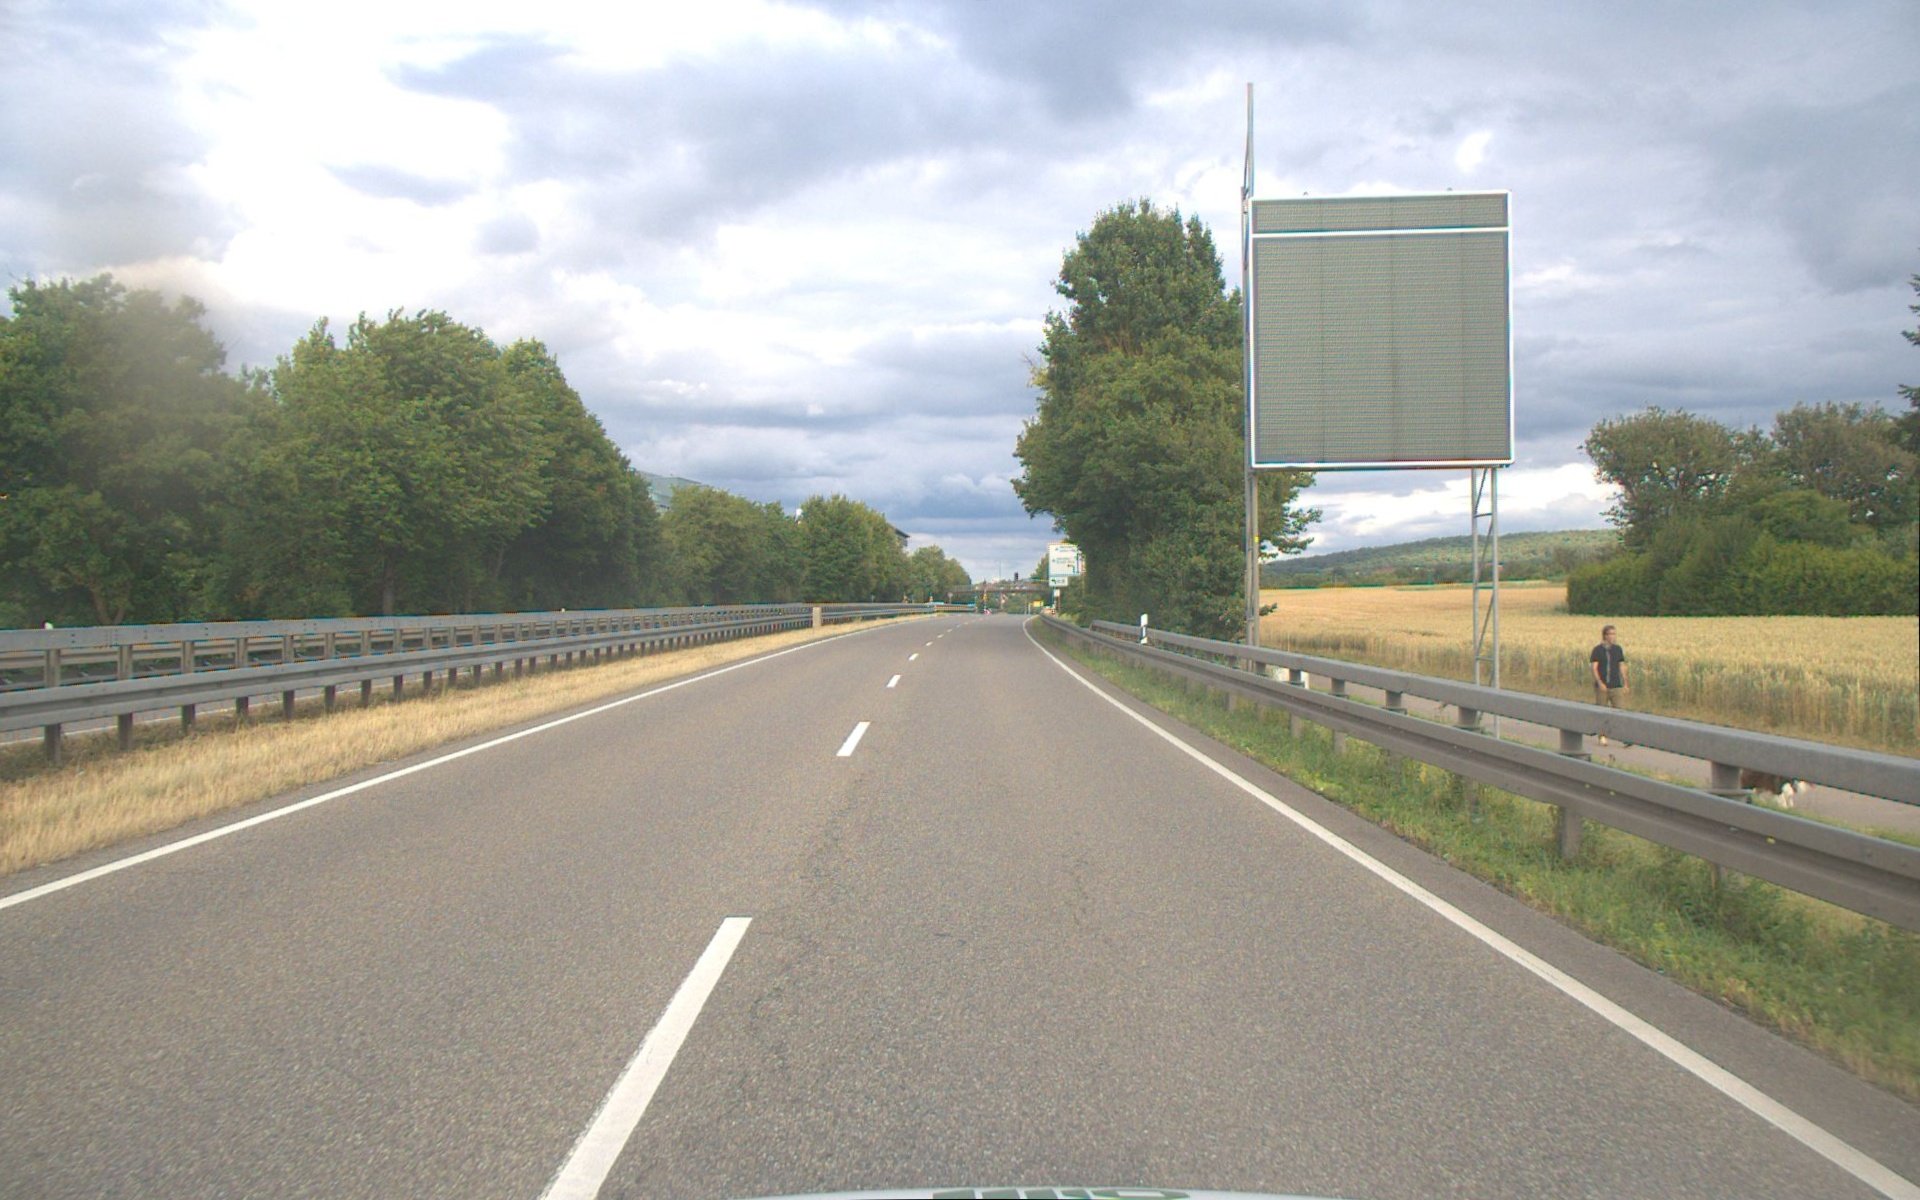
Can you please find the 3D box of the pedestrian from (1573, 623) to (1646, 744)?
[{"bbox_3d":[10.452,1.329,26.640,0.755,1.900,0.940,1,-1,-1],"label":"pedestrian"}]

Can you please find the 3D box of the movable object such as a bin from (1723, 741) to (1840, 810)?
[{"bbox_3d":[9.465,2.012,19.089,0.717,0.657,1.235,1,-1,-1],"label":"movable object such as a bin"}]
